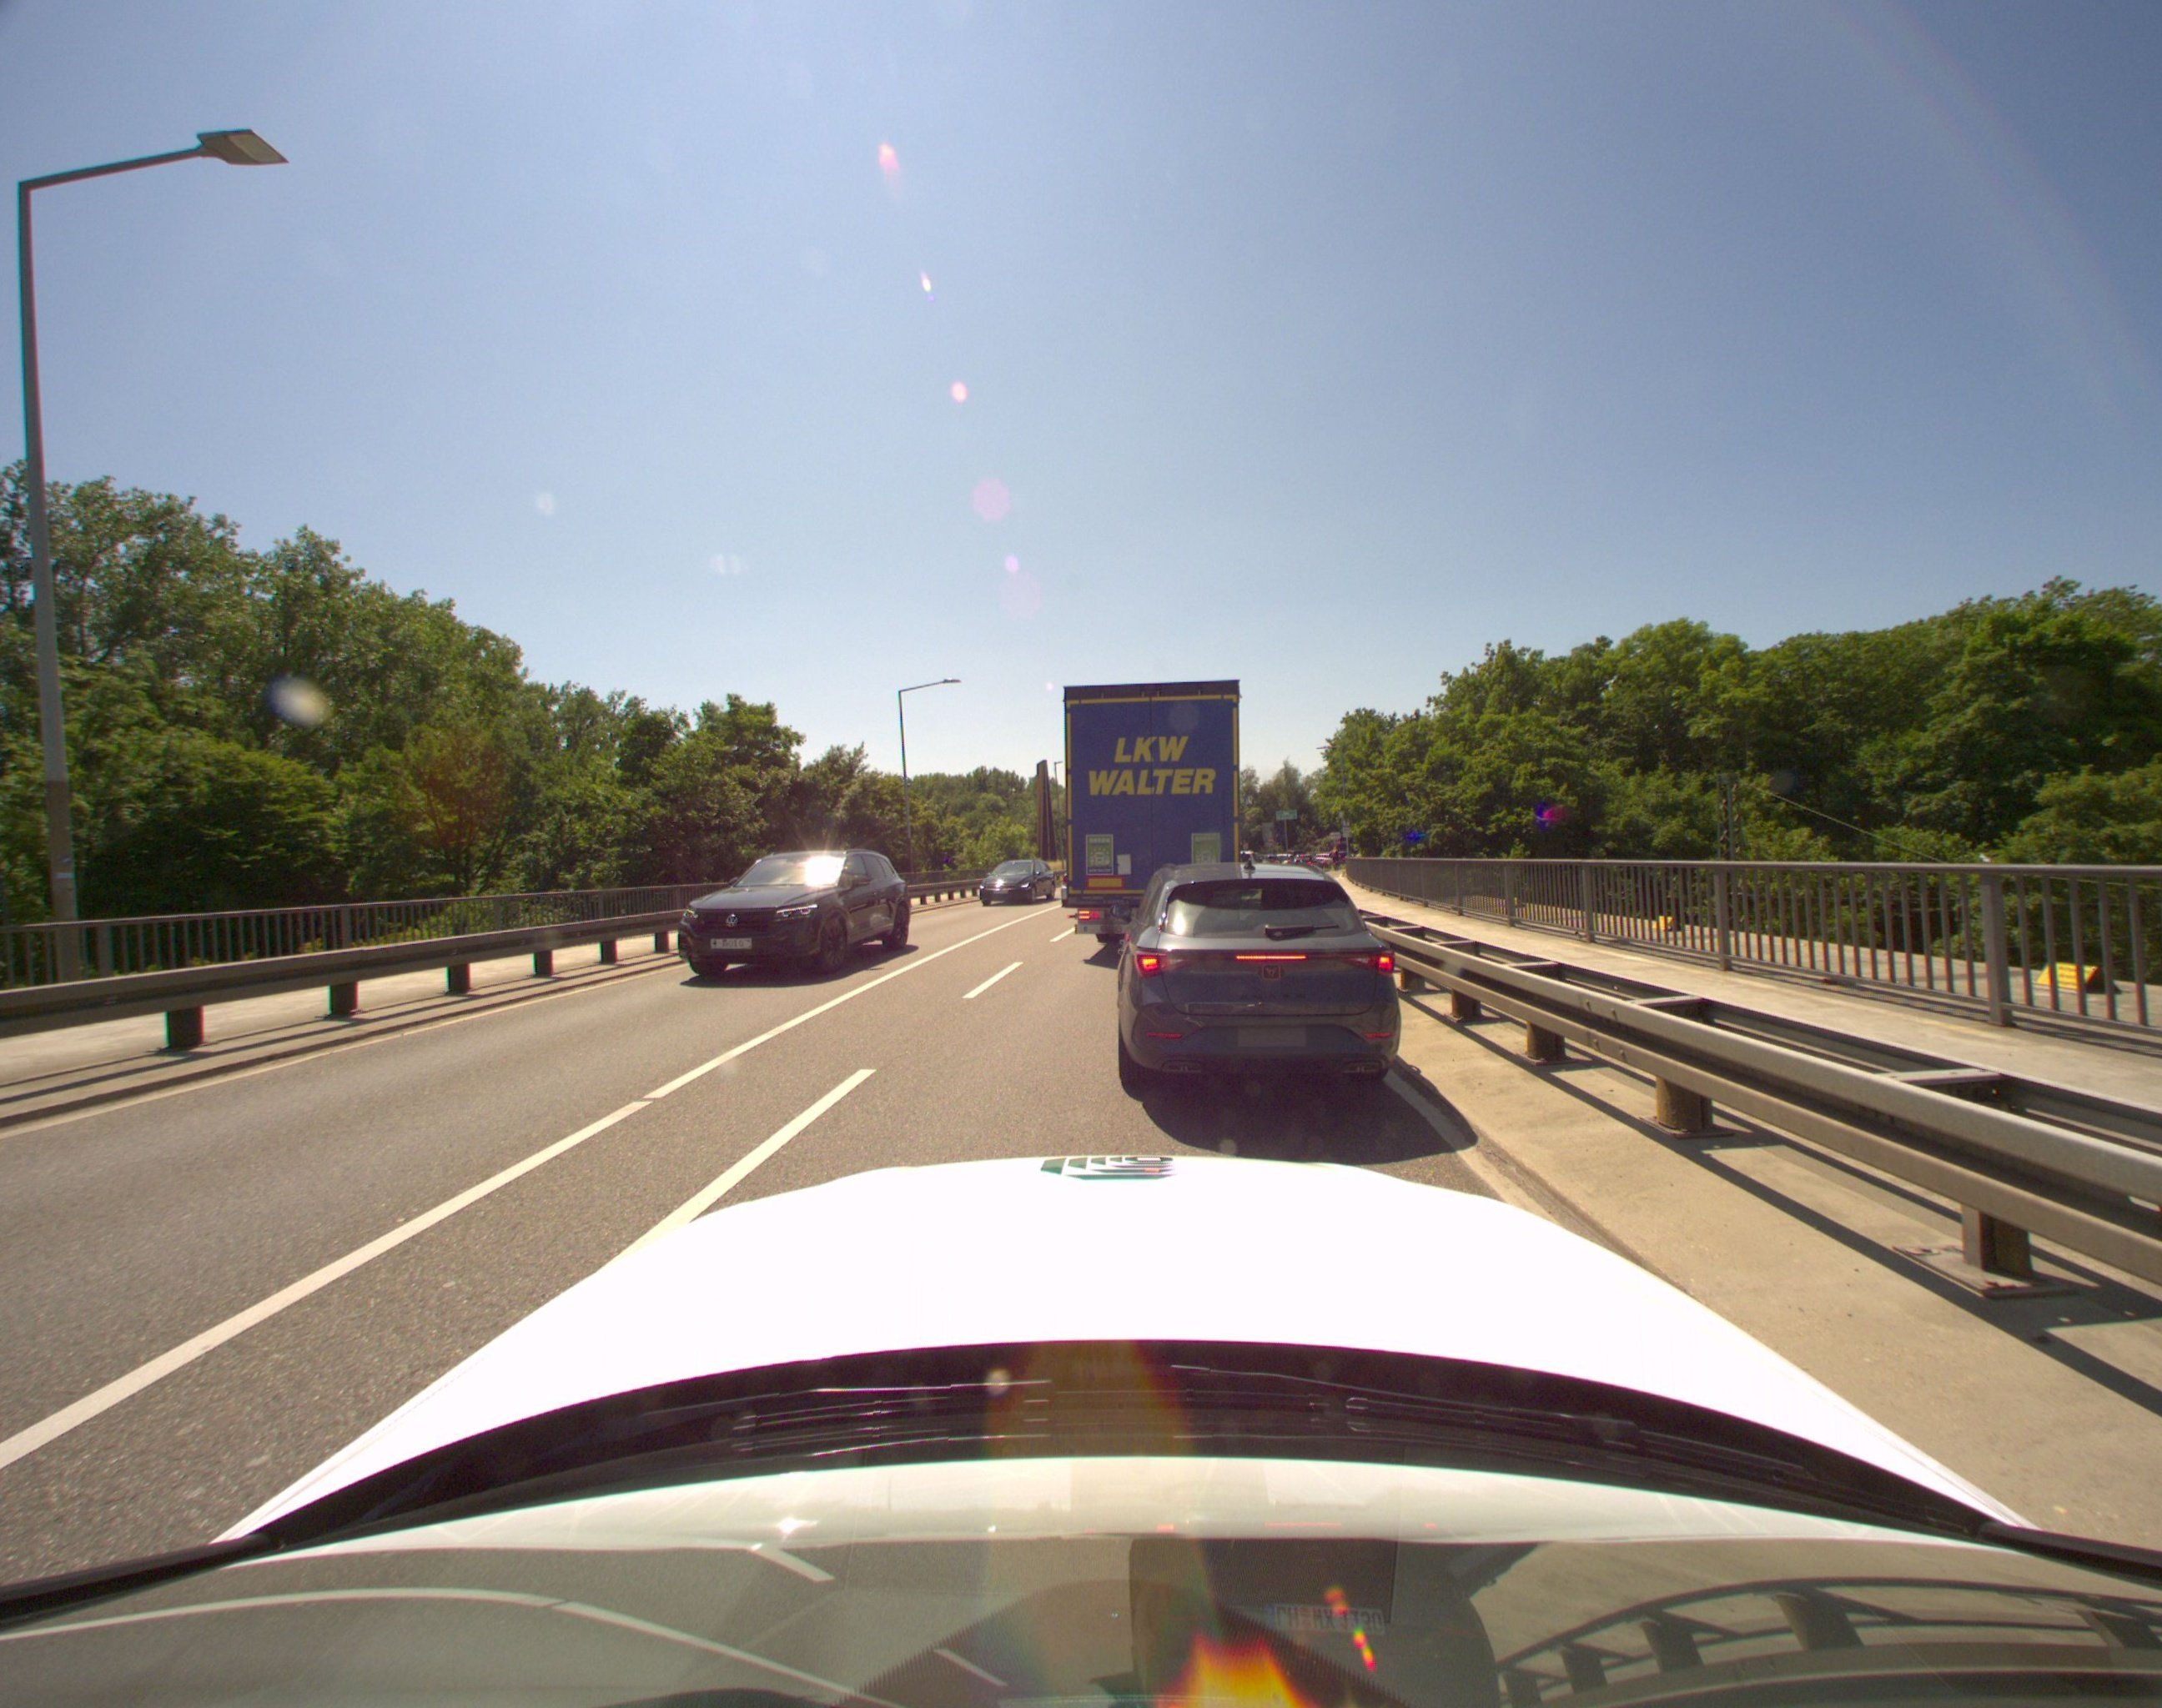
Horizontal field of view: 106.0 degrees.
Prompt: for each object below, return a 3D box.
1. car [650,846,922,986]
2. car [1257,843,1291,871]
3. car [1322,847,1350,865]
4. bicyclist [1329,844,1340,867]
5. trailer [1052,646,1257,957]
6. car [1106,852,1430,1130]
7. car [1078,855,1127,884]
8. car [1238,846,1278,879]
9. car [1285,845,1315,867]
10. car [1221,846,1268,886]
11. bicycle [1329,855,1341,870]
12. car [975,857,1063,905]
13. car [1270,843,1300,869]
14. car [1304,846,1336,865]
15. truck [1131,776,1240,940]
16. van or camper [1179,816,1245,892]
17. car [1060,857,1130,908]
[{"bbox_3d":[-4.099,0.774,12.333,1.956,1.673,4.622,-2,0,6],"label":"car"},{"bbox_3d":[13.158,0.197,55.461,1.706,1.844,4.021,-1,0,21],"label":"car"},{"bbox_3d":[25.112,0.219,80.178,1.669,1.760,4.025,-2,-1,30],"label":"car"},{"bbox_3d":[18.571,0.109,59.698,0.574,1.683,0.731,-4,-1,11],"label":"bicyclist"},{"bbox_3d":[2.092,-0.754,17.937,2.887,4.418,12.467,-1,0,10],"label":"trailer"},{"bbox_3d":[1.136,0.739,6.310,1.669,1.456,3.963,-1,0,4],"label":"car"},{"bbox_3d":[1.208,0.790,43.623,1.587,1.449,4.073,-2,0,17],"label":"car"},{"bbox_3d":[10.347,0.446,47.480,1.706,1.802,4.020,-1,0,20],"label":"car"},{"bbox_3d":[18.336,0.151,68.137,1.670,1.760,4.023,-1,-1,25],"label":"car"},{"bbox_3d":[8.307,0.569,41.208,1.706,1.844,4.020,-1,0,20],"label":"car"},{"bbox_3d":[18.606,0.593,59.695,0.578,1.035,1.489,-4,-1,12],"label":"bicycle"},{"bbox_3d":[-2.034,0.885,28.269,1.698,1.469,4.476,-1,0,14],"label":"car"},{"bbox_3d":[15.463,0.123,61.554,1.706,1.844,4.021,-1,0,21],"label":"car"},{"bbox_3d":[21.872,0.140,74.341,1.975,1.575,4.024,0,-1,28],"label":"car"},{"bbox_3d":[3.390,0.126,25.384,2.887,4.418,6.573,-1,0,10],"label":"truck"},{"bbox_3d":[5.557,-0.003,33.902,2.139,2.815,6.411,-1,0,14],"label":"van or camper"},{"bbox_3d":[0.525,0.843,26.153,1.667,1.411,3.985,-3,0,9],"label":"car"}]
